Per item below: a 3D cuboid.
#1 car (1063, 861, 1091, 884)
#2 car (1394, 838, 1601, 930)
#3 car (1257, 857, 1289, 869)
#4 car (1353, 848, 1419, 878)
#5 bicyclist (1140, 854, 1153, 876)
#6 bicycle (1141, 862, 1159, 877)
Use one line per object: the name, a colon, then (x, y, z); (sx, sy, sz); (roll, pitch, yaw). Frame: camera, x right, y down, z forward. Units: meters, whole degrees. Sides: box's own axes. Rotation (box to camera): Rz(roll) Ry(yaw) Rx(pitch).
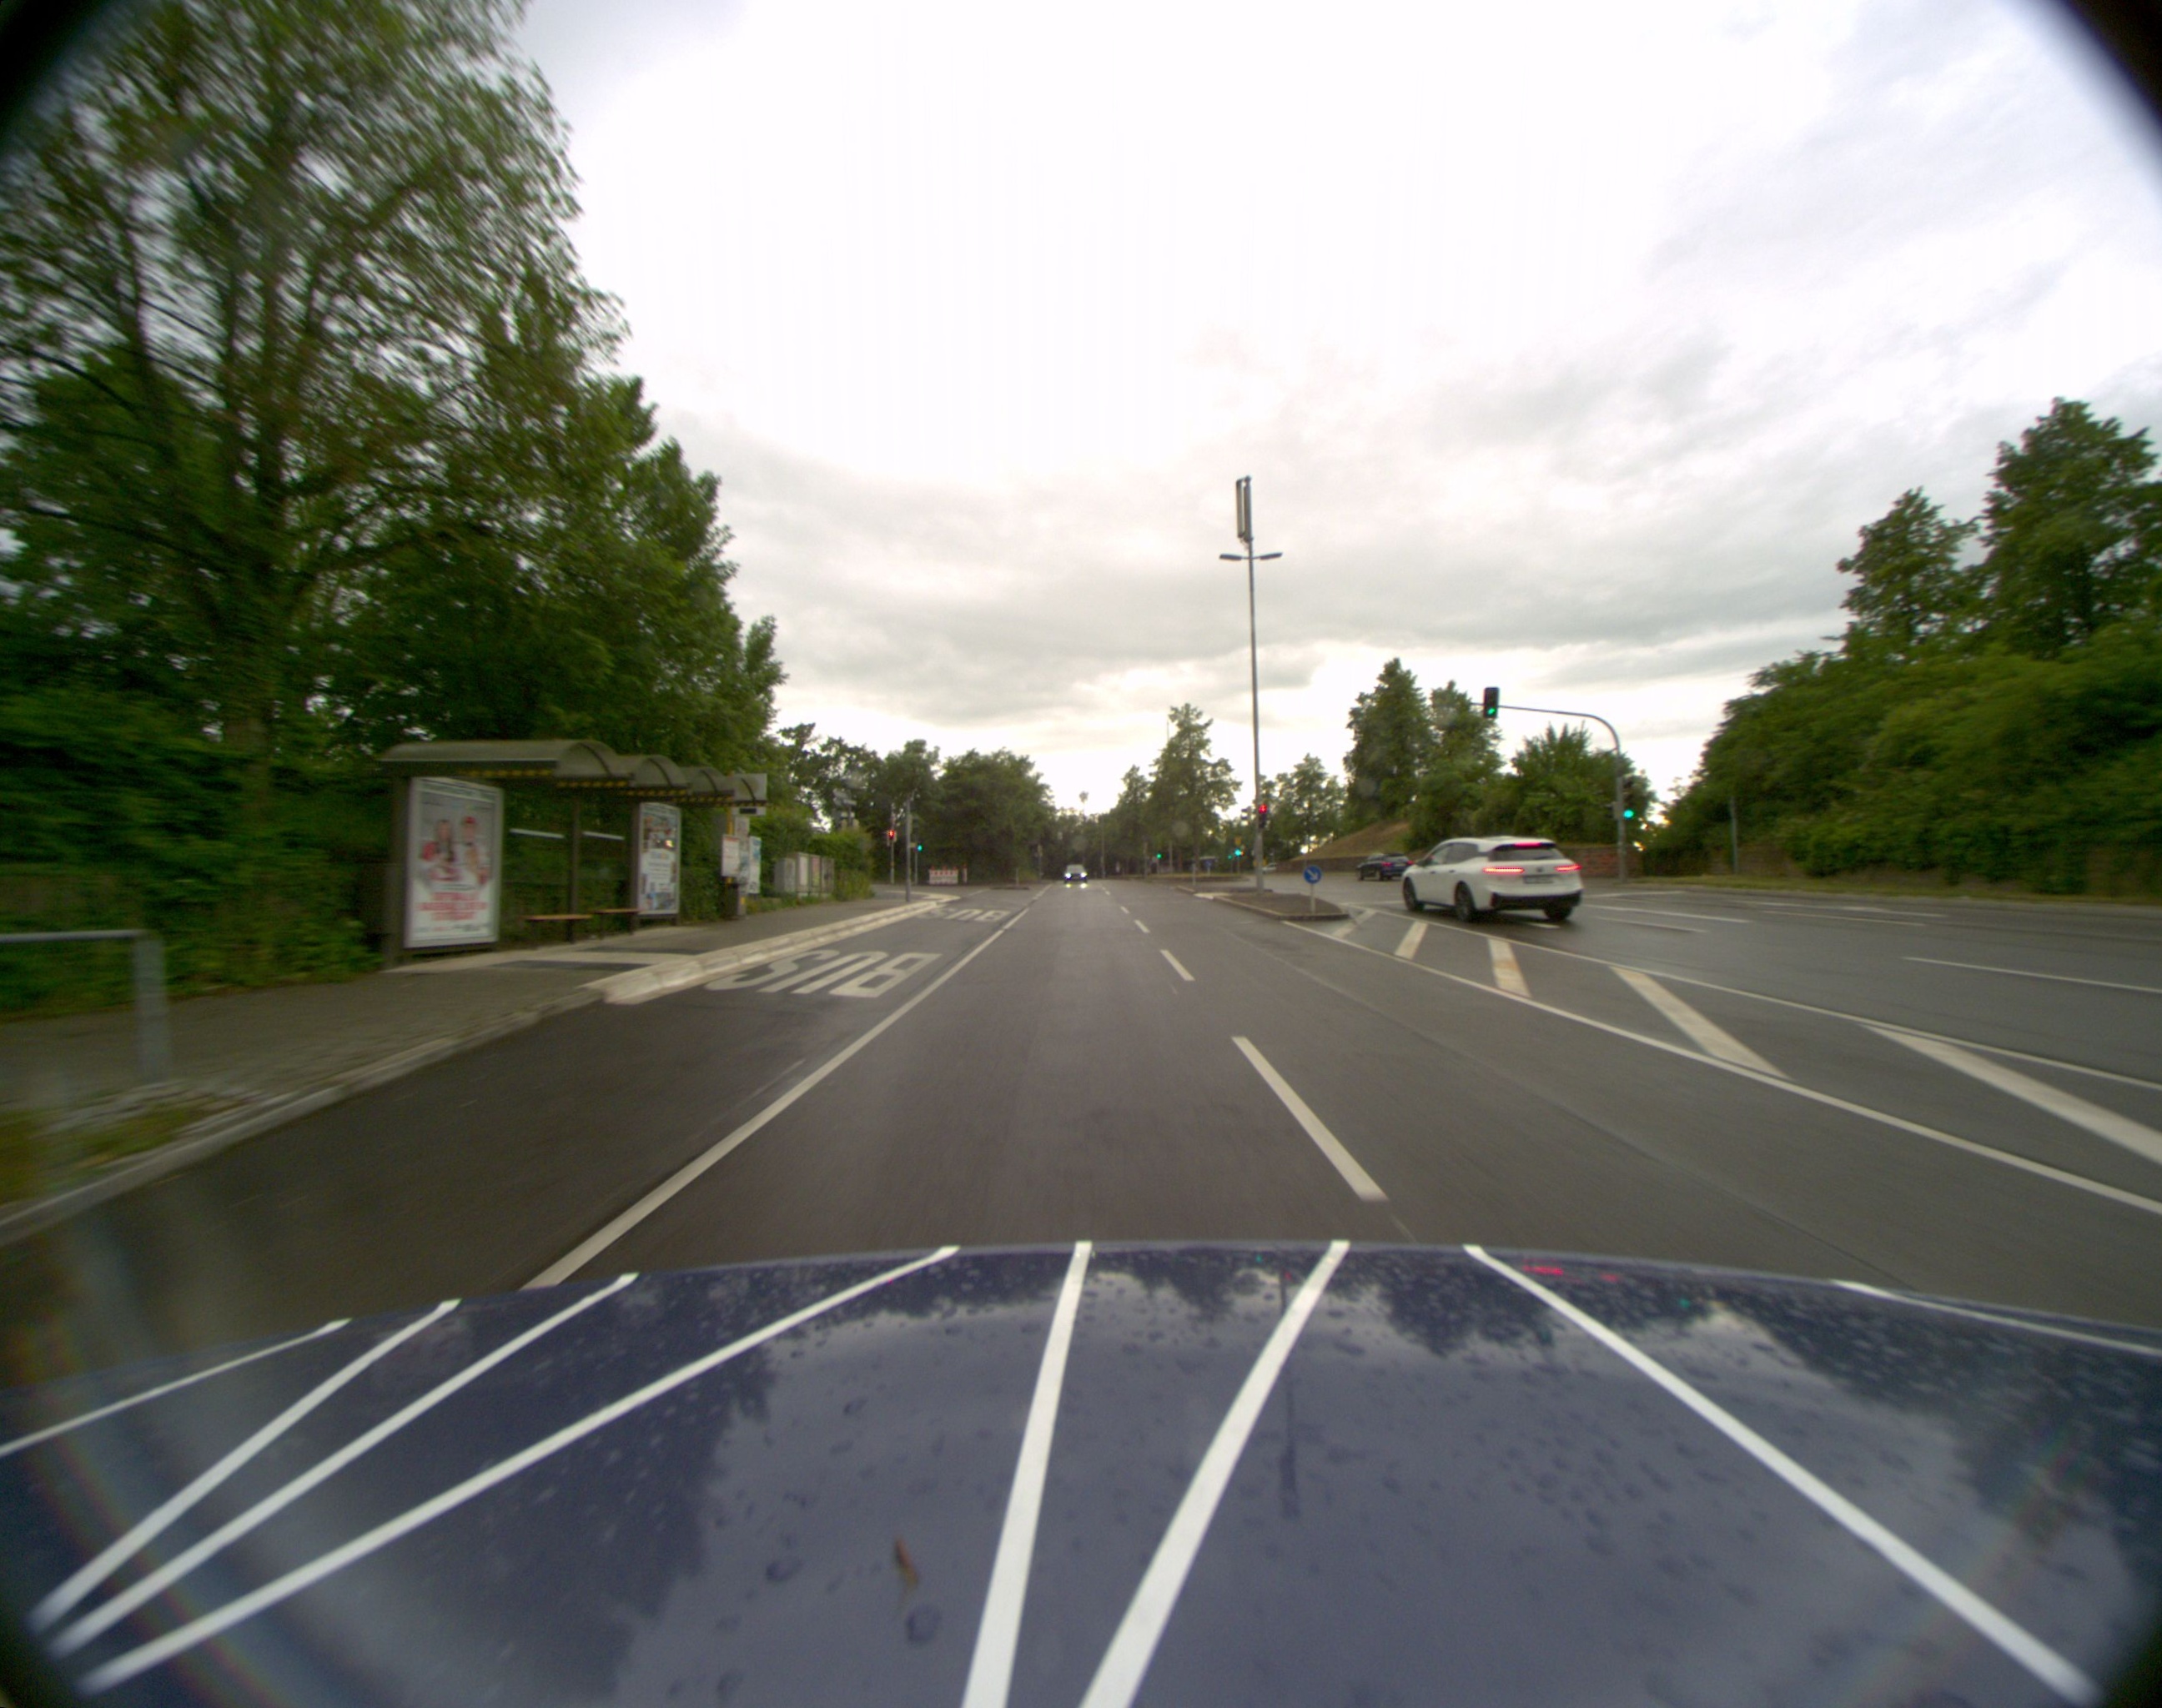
car: (-0.270, 1.471, 60.075); (1.998, 1.575, 4.003); (1, -4, 3)
car: (8.595, 0.531, 16.317); (1.949, 1.626, 5.006); (-2, 0, 4)
car: (24.274, 1.145, 96.139); (3.692, 1.469, 1.763); (-2, -1, 9)
car: (15.945, 0.444, 39.968); (1.824, 1.429, 4.455); (-2, 0, 3)
bicyclist: (5.365, 0.870, 61.985); (0.723, 1.742, 0.803); (1, 2, 33)
bicycle: (5.672, 1.261, 62.489); (0.552, 1.136, 2.144); (-2, -1, 33)
